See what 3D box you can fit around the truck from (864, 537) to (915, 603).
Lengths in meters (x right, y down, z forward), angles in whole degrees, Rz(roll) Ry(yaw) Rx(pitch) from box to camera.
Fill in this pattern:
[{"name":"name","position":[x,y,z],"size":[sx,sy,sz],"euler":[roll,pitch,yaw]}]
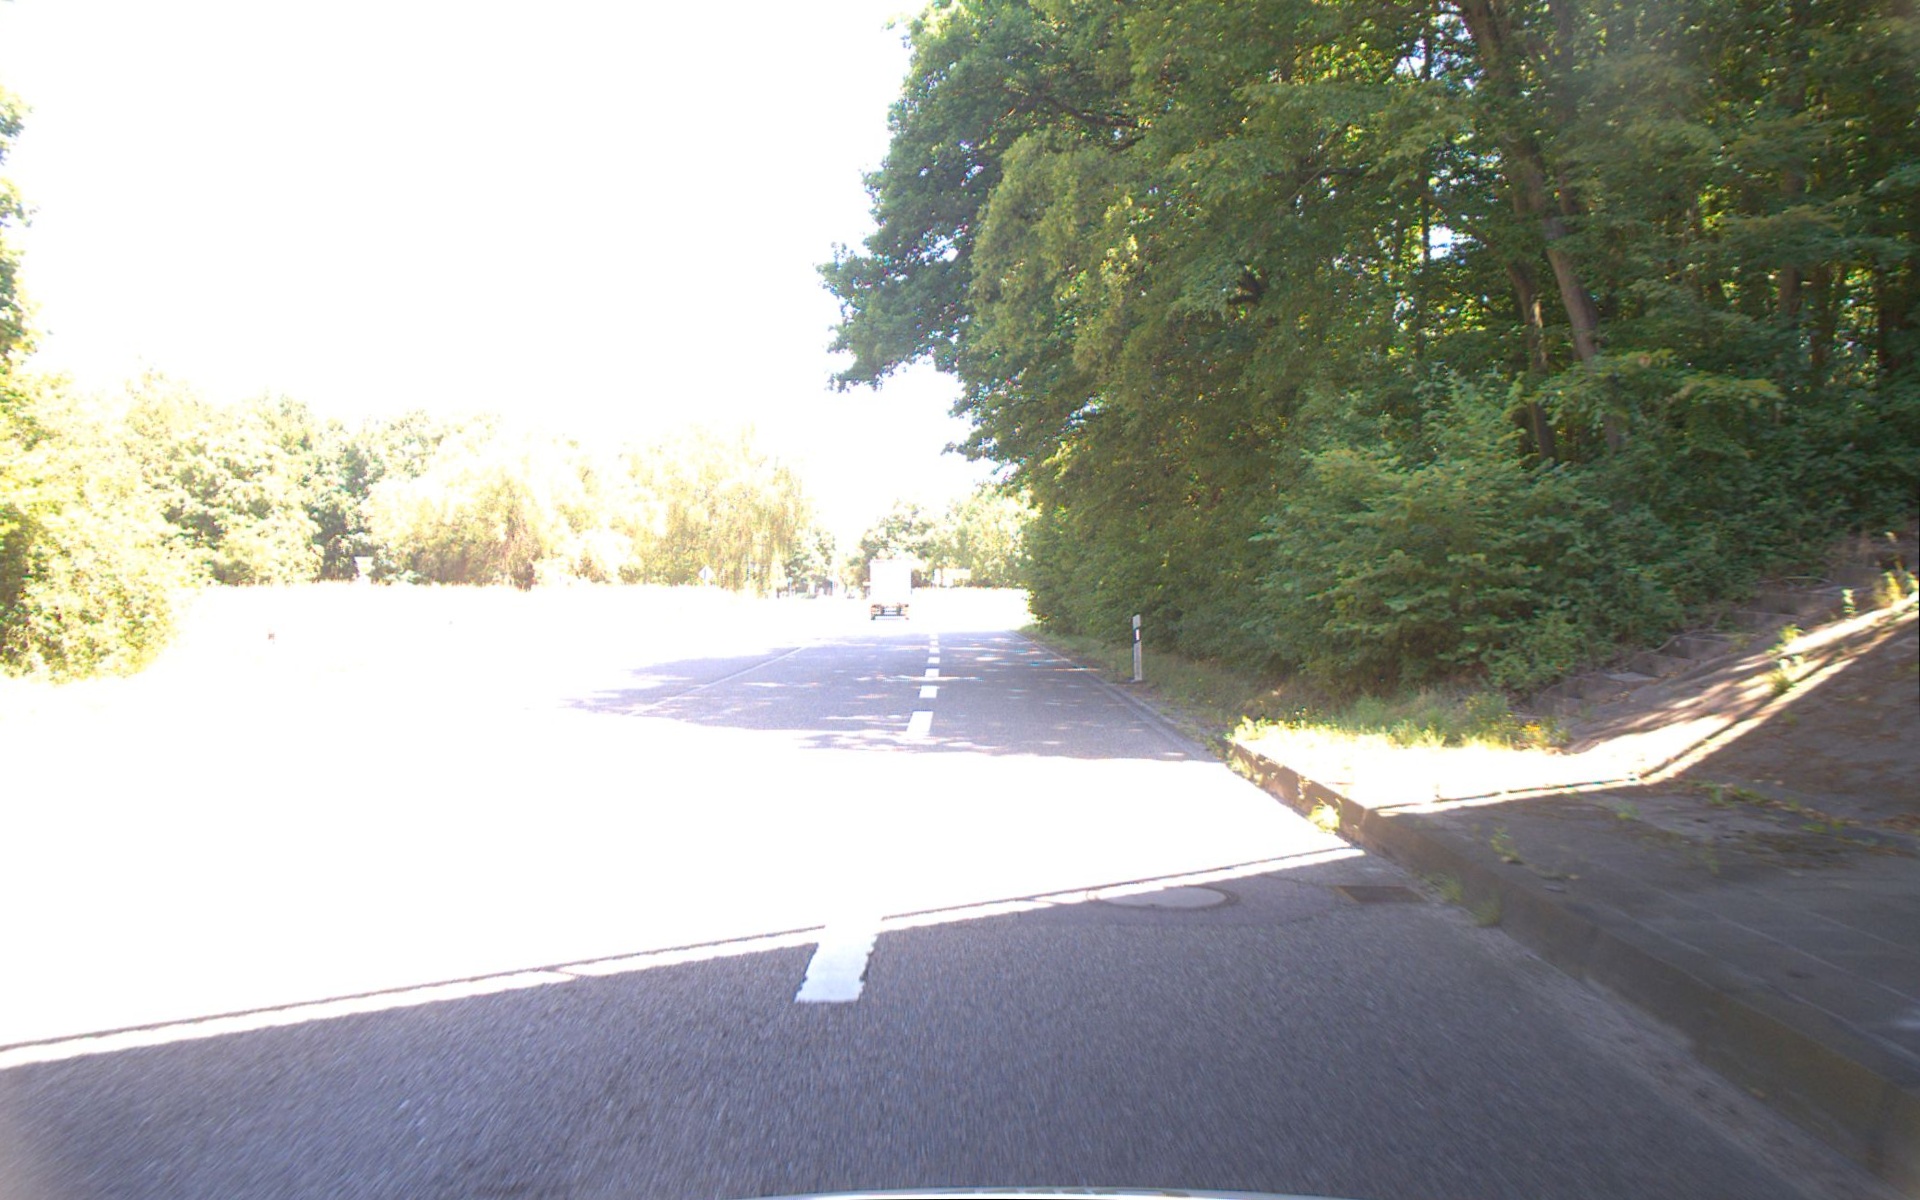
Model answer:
[{"name":"truck","position":[-3.552,-1.552,84.203],"size":[2.483,3.189,5.360],"euler":[-1,2,-2]}]
